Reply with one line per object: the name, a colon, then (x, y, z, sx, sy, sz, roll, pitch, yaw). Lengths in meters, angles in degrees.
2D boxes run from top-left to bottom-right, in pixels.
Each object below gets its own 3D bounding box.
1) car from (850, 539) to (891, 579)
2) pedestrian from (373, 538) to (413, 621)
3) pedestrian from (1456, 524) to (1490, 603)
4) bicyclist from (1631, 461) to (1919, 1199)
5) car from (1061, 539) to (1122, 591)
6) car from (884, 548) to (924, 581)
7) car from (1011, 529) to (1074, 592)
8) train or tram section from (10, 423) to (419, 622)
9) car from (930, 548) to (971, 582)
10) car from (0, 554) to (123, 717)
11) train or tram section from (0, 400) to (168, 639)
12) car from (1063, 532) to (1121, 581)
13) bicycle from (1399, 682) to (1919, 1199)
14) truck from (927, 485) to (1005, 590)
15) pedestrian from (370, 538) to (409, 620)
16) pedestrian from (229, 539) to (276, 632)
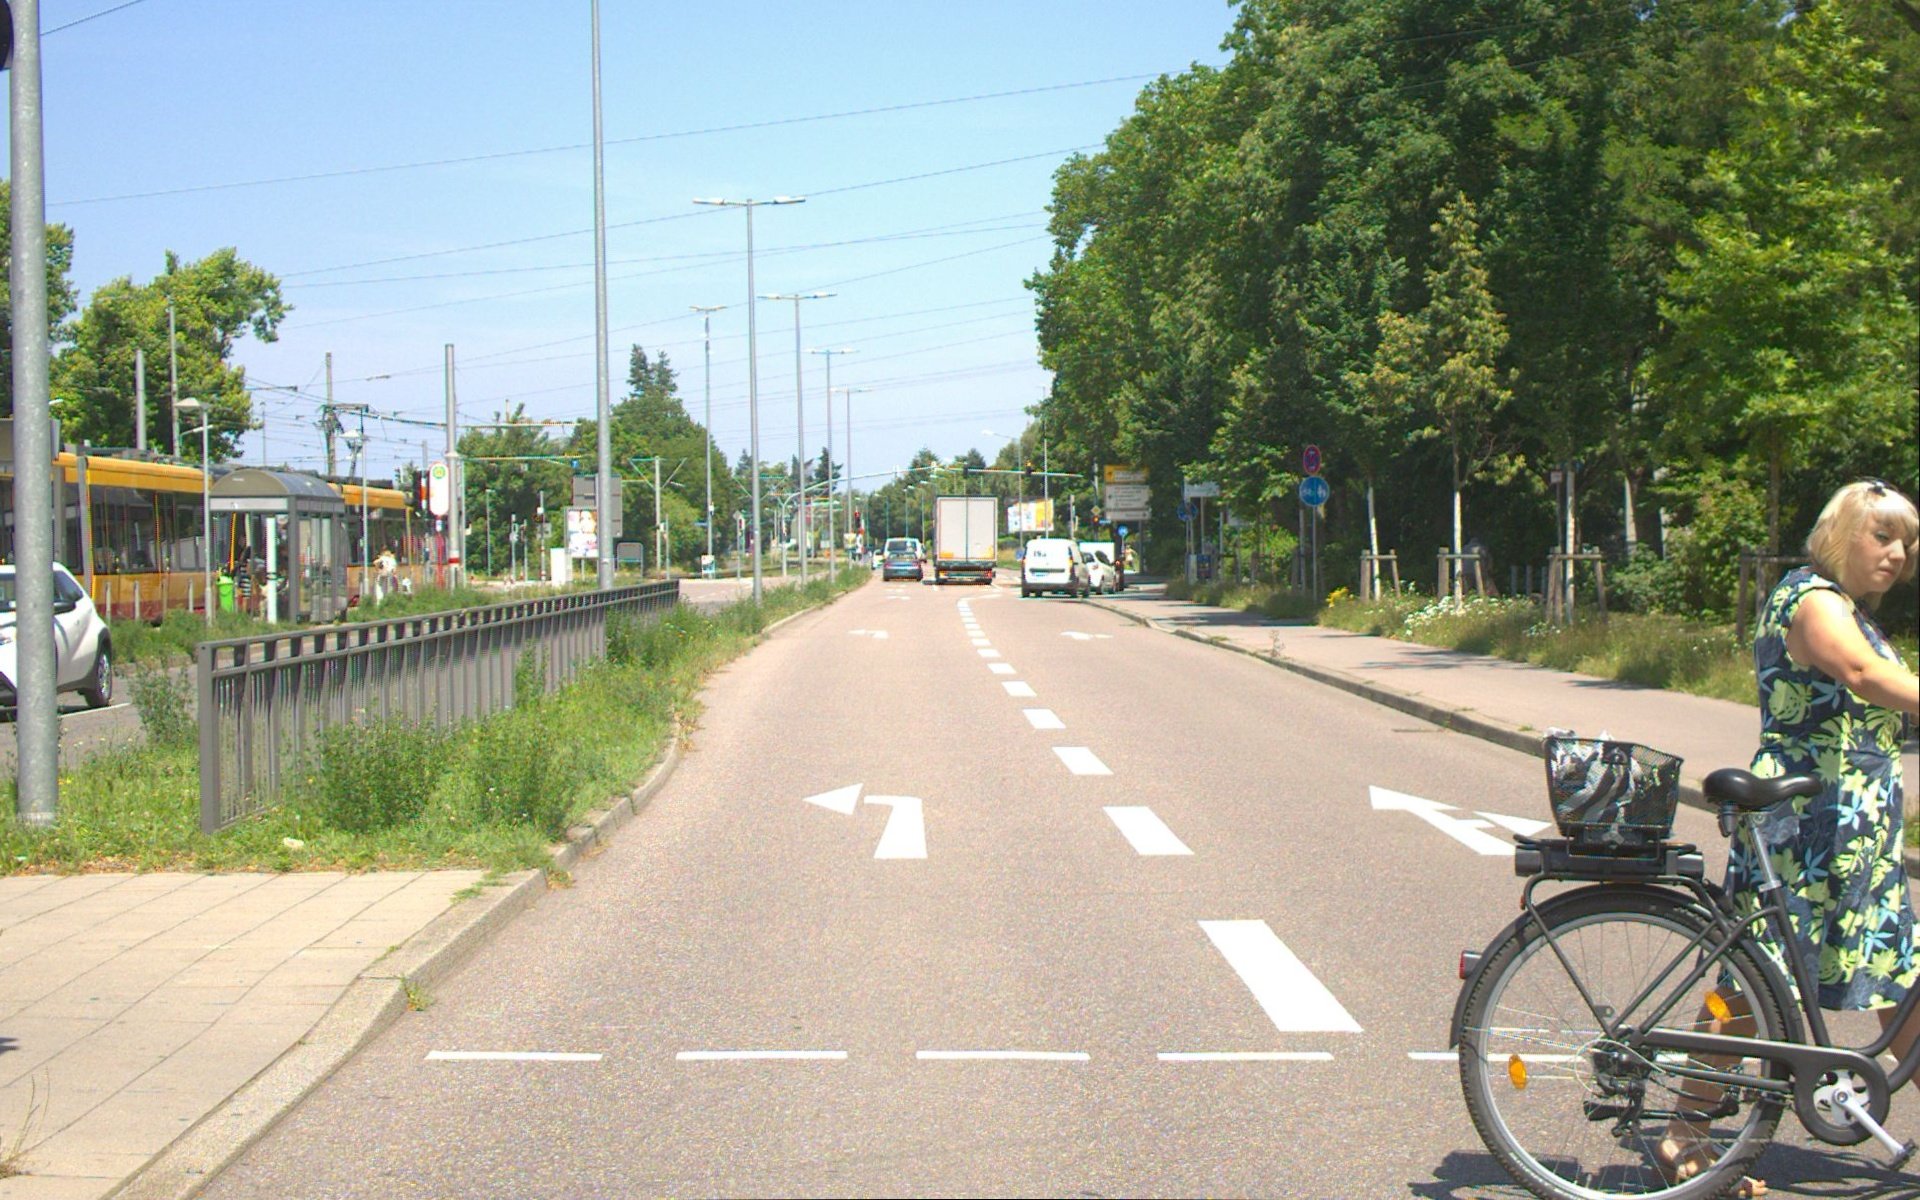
car: (-4.554, -2.085, 175.173, 1.993, 2.007, 4.000, 0, 1, -1)
pedestrian: (-13.792, -0.510, 83.593, 0.815, 2.007, 0.938, 0, 1, -1)
pedestrian: (9.402, -0.667, 63.030, 0.604, 1.433, 0.556, 0, 1, 6)
bicyclist: (2.001, 0.531, 7.724, 0.957, 1.661, 0.580, 0, 0, 10)
car: (4.296, -1.157, 112.452, 1.779, 1.663, 4.000, 0, 1, -1)
car: (-2.573, -1.644, 158.054, 1.811, 1.459, 4.000, 0, 1, -1)
car: (2.507, -1.228, 105.522, 1.779, 1.897, 4.000, 0, 1, -1)
train or tram section: (-16.833, -1.783, 82.214, 2.931, 3.776, 33.090, 0, 1, -1)
car: (-0.434, -1.566, 153.624, 1.811, 1.459, 4.000, 0, 1, -1)
car: (-9.590, 0.307, 33.731, 1.845, 1.489, 3.791, 0, 1, -1)
train or tram section: (-16.473, -1.198, 50.688, 2.957, 3.736, 30.035, 0, 1, -1)
car: (4.546, -1.522, 118.795, 1.779, 1.663, 4.000, 0, 1, -1)
bicycle: (1.941, 0.763, 7.372, 1.958, 1.157, 0.541, 0, 0, 10)
truck: (0.211, -2.641, 146.117, 3.205, 4.344, 6.561, 0, 1, -1)
pedestrian: (-14.097, -0.528, 84.955, 0.815, 2.007, 0.938, 0, 1, -1)
pedestrian: (-14.260, -0.304, 69.310, 0.785, 1.862, 0.817, 0, 1, -1)
